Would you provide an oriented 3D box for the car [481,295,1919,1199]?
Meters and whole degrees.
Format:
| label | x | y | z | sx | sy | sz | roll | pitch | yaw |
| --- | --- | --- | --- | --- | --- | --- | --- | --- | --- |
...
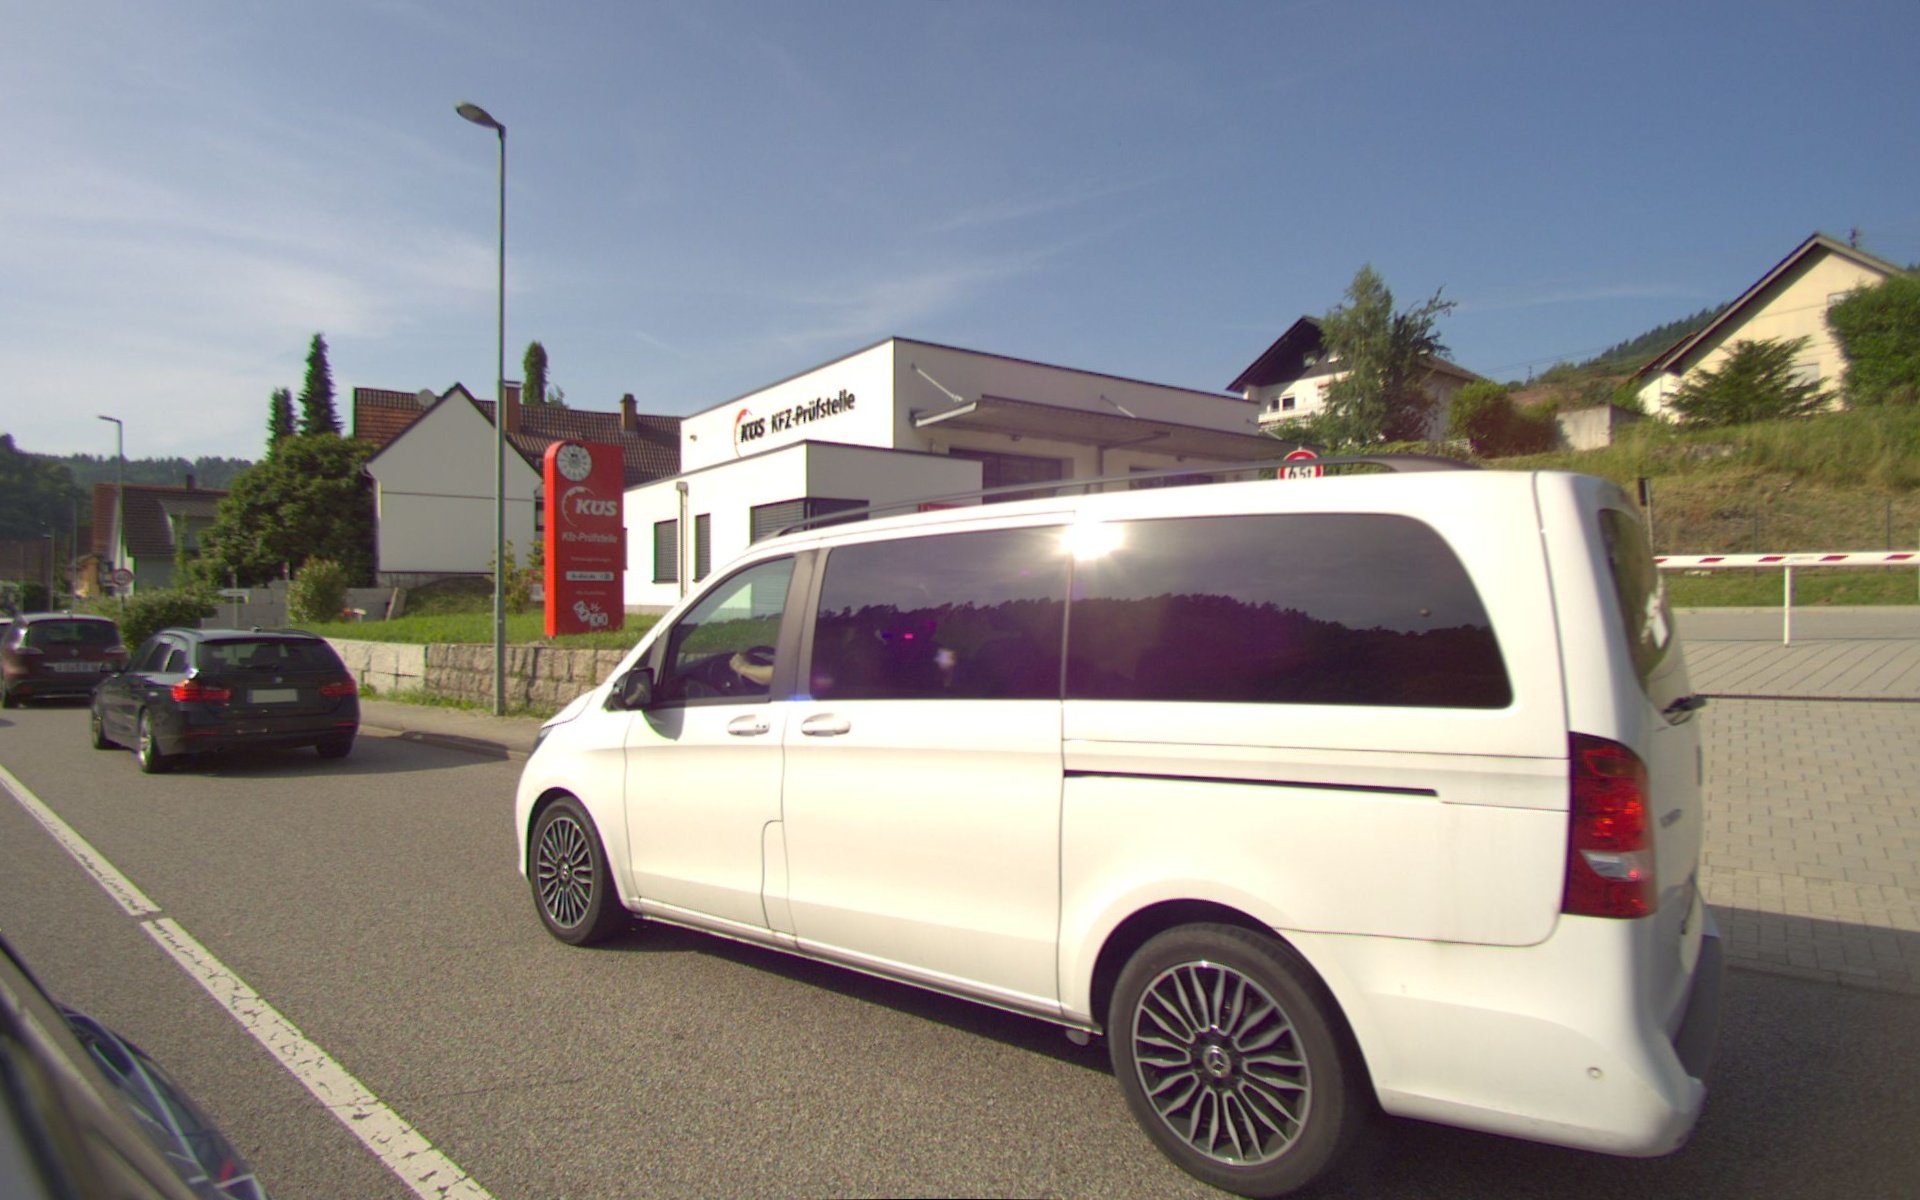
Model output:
| label | x | y | z | sx | sy | sz | roll | pitch | yaw |
| --- | --- | --- | --- | --- | --- | --- | --- | --- | --- |
| car | 0.418 | 0.510 | 3.767 | 5.290 | 1.902 | 1.877 | -1 | -2 | 39 |

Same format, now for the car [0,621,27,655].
| label | x | y | z | sx | sy | sz | roll | pitch | yaw |
| --- | --- | --- | --- | --- | --- | --- | --- | --- | --- |
| car | -45.698 | 1.815 | 48.109 | 4.191 | 1.515 | 1.730 | -1 | 0 | 44 |

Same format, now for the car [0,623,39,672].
| label | x | y | z | sx | sy | sz | roll | pitch | yaw |
| --- | --- | --- | --- | --- | --- | --- | --- | --- | --- |
| car | -31.909 | 1.549 | 33.490 | 3.999 | 1.538 | 1.725 | -1 | -3 | 42 |

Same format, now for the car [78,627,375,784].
| label | x | y | z | sx | sy | sz | roll | pitch | yaw |
| --- | --- | --- | --- | --- | --- | --- | --- | --- | --- |
| car | -8.231 | 1.012 | 11.216 | 4.231 | 1.409 | 1.755 | -2 | -2 | 41 |

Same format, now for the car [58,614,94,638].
| label | x | y | z | sx | sy | sz | roll | pitch | yaw |
| --- | --- | --- | --- | --- | --- | --- | --- | --- | --- |
| car | -65.073 | 1.885 | 74.534 | 1.877 | 1.677 | 4.274 | -2 | 1 | -41 |

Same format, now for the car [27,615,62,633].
| label | x | y | z | sx | sy | sz | roll | pitch | yaw |
| --- | --- | --- | --- | --- | --- | --- | --- | --- | --- |
| car | -82.600 | 2.143 | 91.278 | 4.234 | 1.530 | 1.865 | -1 | 1 | 41 |

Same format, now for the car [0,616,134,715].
| label | x | y | z | sx | sy | sz | roll | pitch | yaw |
| --- | --- | --- | --- | --- | --- | --- | --- | --- | --- |
| car | -16.922 | 1.153 | 18.826 | 4.462 | 1.630 | 1.777 | -2 | -3 | 43 |

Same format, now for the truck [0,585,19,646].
| label | x | y | z | sx | sy | sz | roll | pitch | yaw |
| --- | --- | --- | --- | --- | --- | --- | --- | --- | --- |
| truck | -66.299 | 1.050 | 69.155 | 2.548 | 3.961 | 11.312 | 1 | -1 | -45 |
